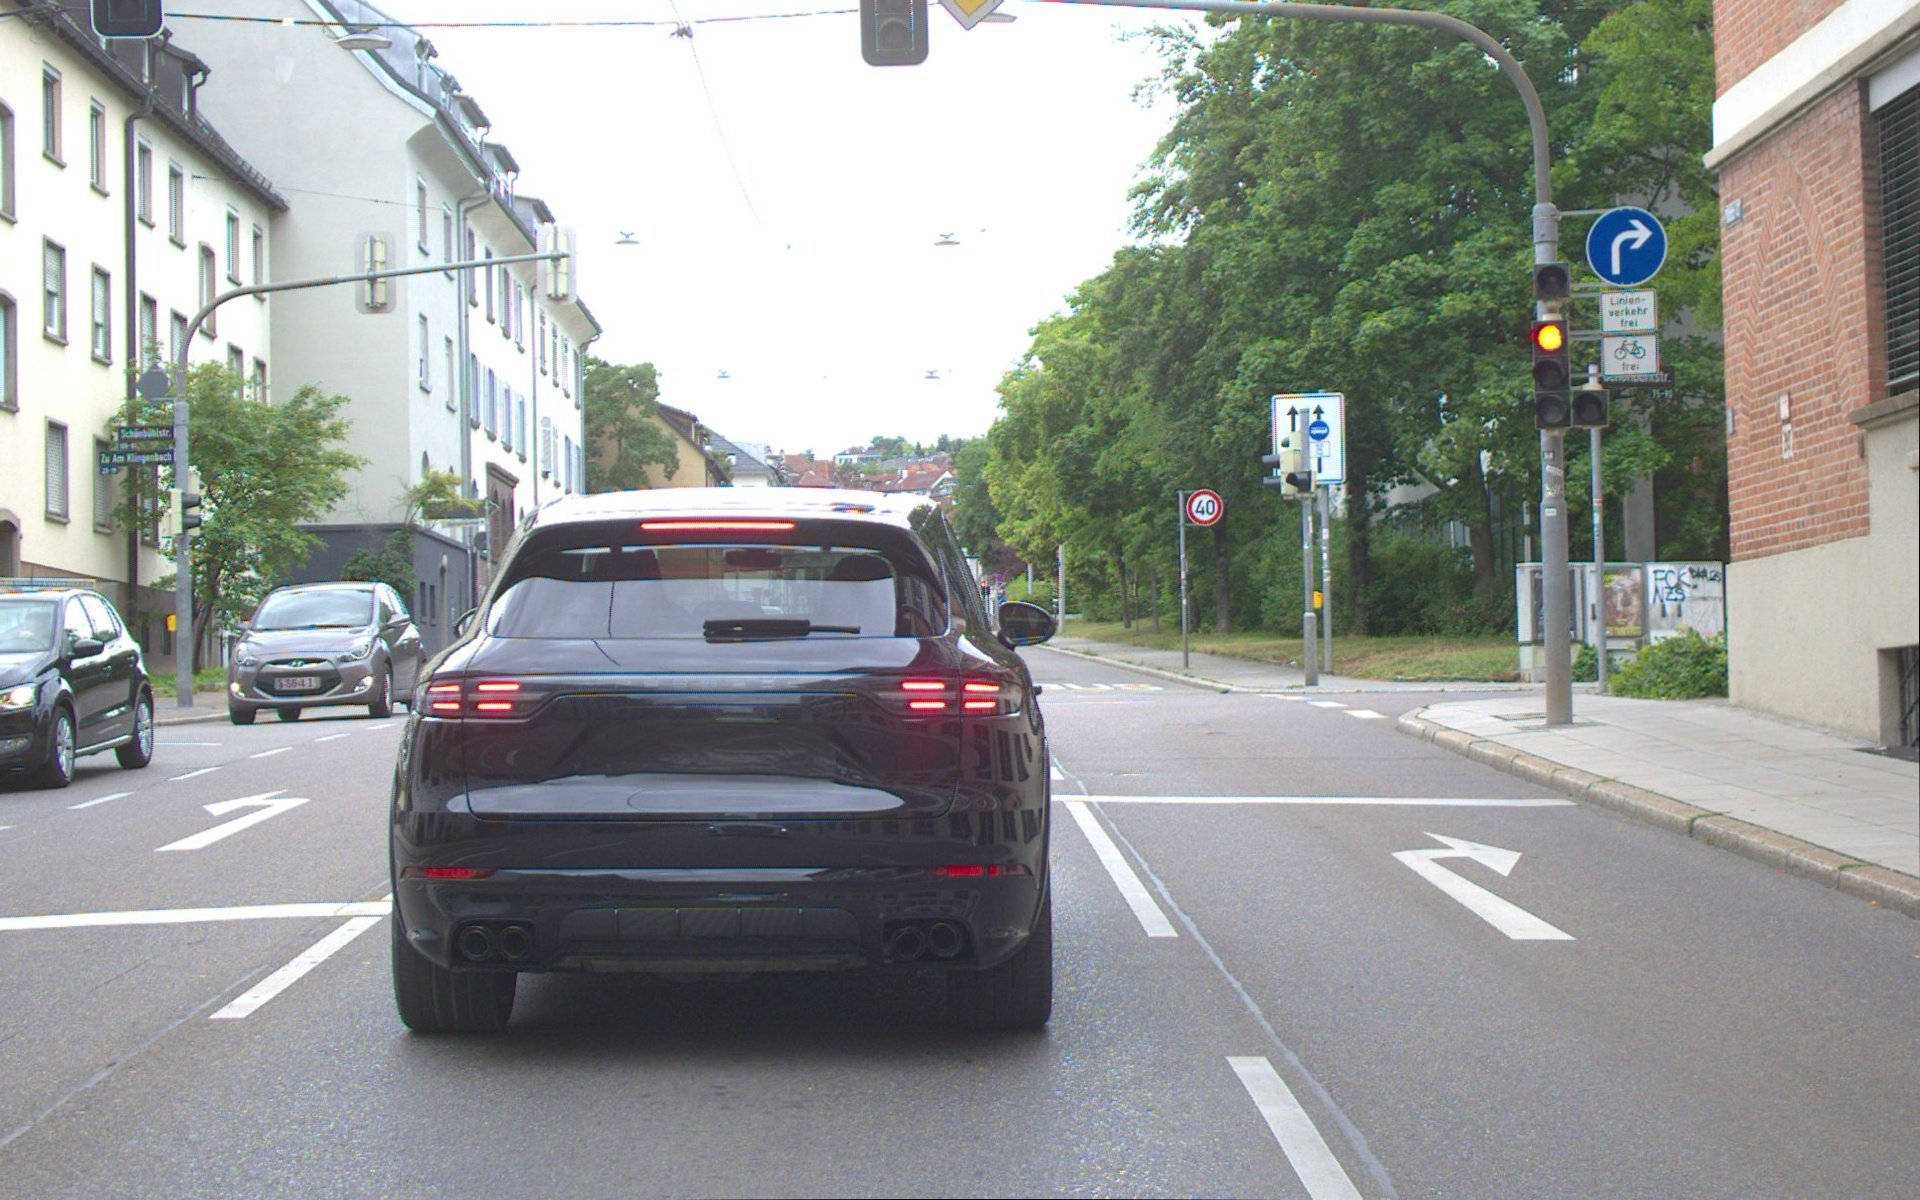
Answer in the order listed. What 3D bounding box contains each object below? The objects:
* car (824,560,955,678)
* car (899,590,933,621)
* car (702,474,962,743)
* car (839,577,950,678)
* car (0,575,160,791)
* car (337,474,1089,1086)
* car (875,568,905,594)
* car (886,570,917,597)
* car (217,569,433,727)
[{"bbox_3d":[-1.001,0.245,50.252,1.827,1.599,4.135,1,1,0],"label":"car"},{"bbox_3d":[-2.389,0.307,188.918,1.827,1.599,4.135,1,1,0],"label":"car"},{"bbox_3d":[-0.990,0.023,28.326,1.965,2.035,4.135,1,1,0],"label":"car"},{"bbox_3d":[-1.099,0.445,58.970,1.827,1.599,3.859,1,1,0],"label":"car"},{"bbox_3d":[-7.134,0.587,25.040,1.673,1.395,3.795,-3,1,0],"label":"car"},{"bbox_3d":[-0.691,0.453,11.575,2.048,1.660,4.267,1,1,0],"label":"car"},{"bbox_3d":[-4.381,-1.200,216.700,1.827,1.599,4.135,1,1,0],"label":"car"},{"bbox_3d":[-3.570,-1.018,209.378,1.827,1.599,4.135,1,1,0],"label":"car"},{"bbox_3d":[-7.248,0.512,39.571,1.703,1.581,3.937,-3,1,0],"label":"car"}]
